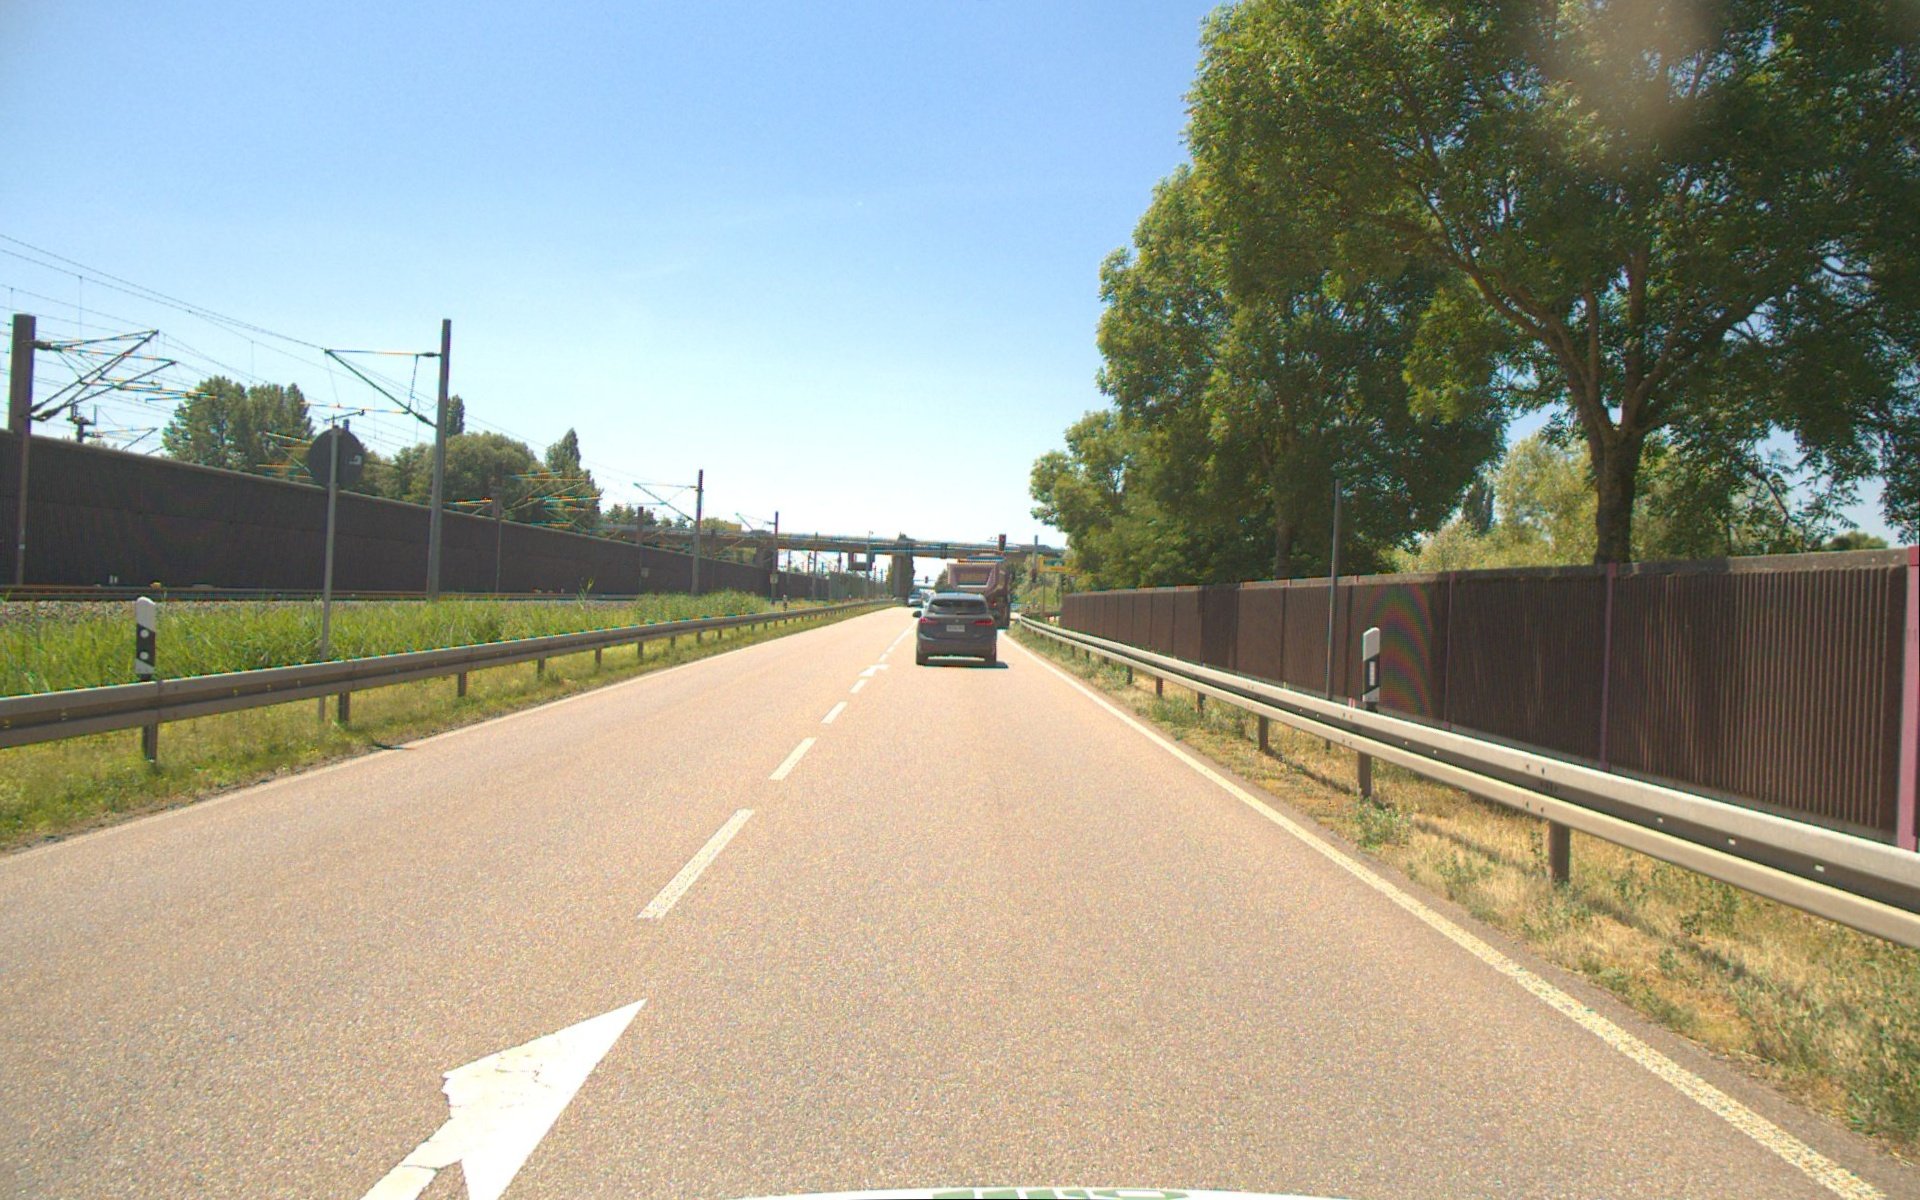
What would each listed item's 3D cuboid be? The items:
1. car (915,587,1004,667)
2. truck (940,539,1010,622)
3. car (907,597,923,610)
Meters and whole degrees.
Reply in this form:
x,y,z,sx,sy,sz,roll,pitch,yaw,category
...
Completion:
x,y,z,sx,sy,sz,roll,pitch,yaw,category
-0.065,0.578,37.379,1.808,1.651,4.224,1,0,-2,car
0.912,-0.941,84.840,2.774,3.888,11.891,1,0,4,truck
-5.421,0.437,198.974,1.827,1.511,4.884,1,0,-3,car
